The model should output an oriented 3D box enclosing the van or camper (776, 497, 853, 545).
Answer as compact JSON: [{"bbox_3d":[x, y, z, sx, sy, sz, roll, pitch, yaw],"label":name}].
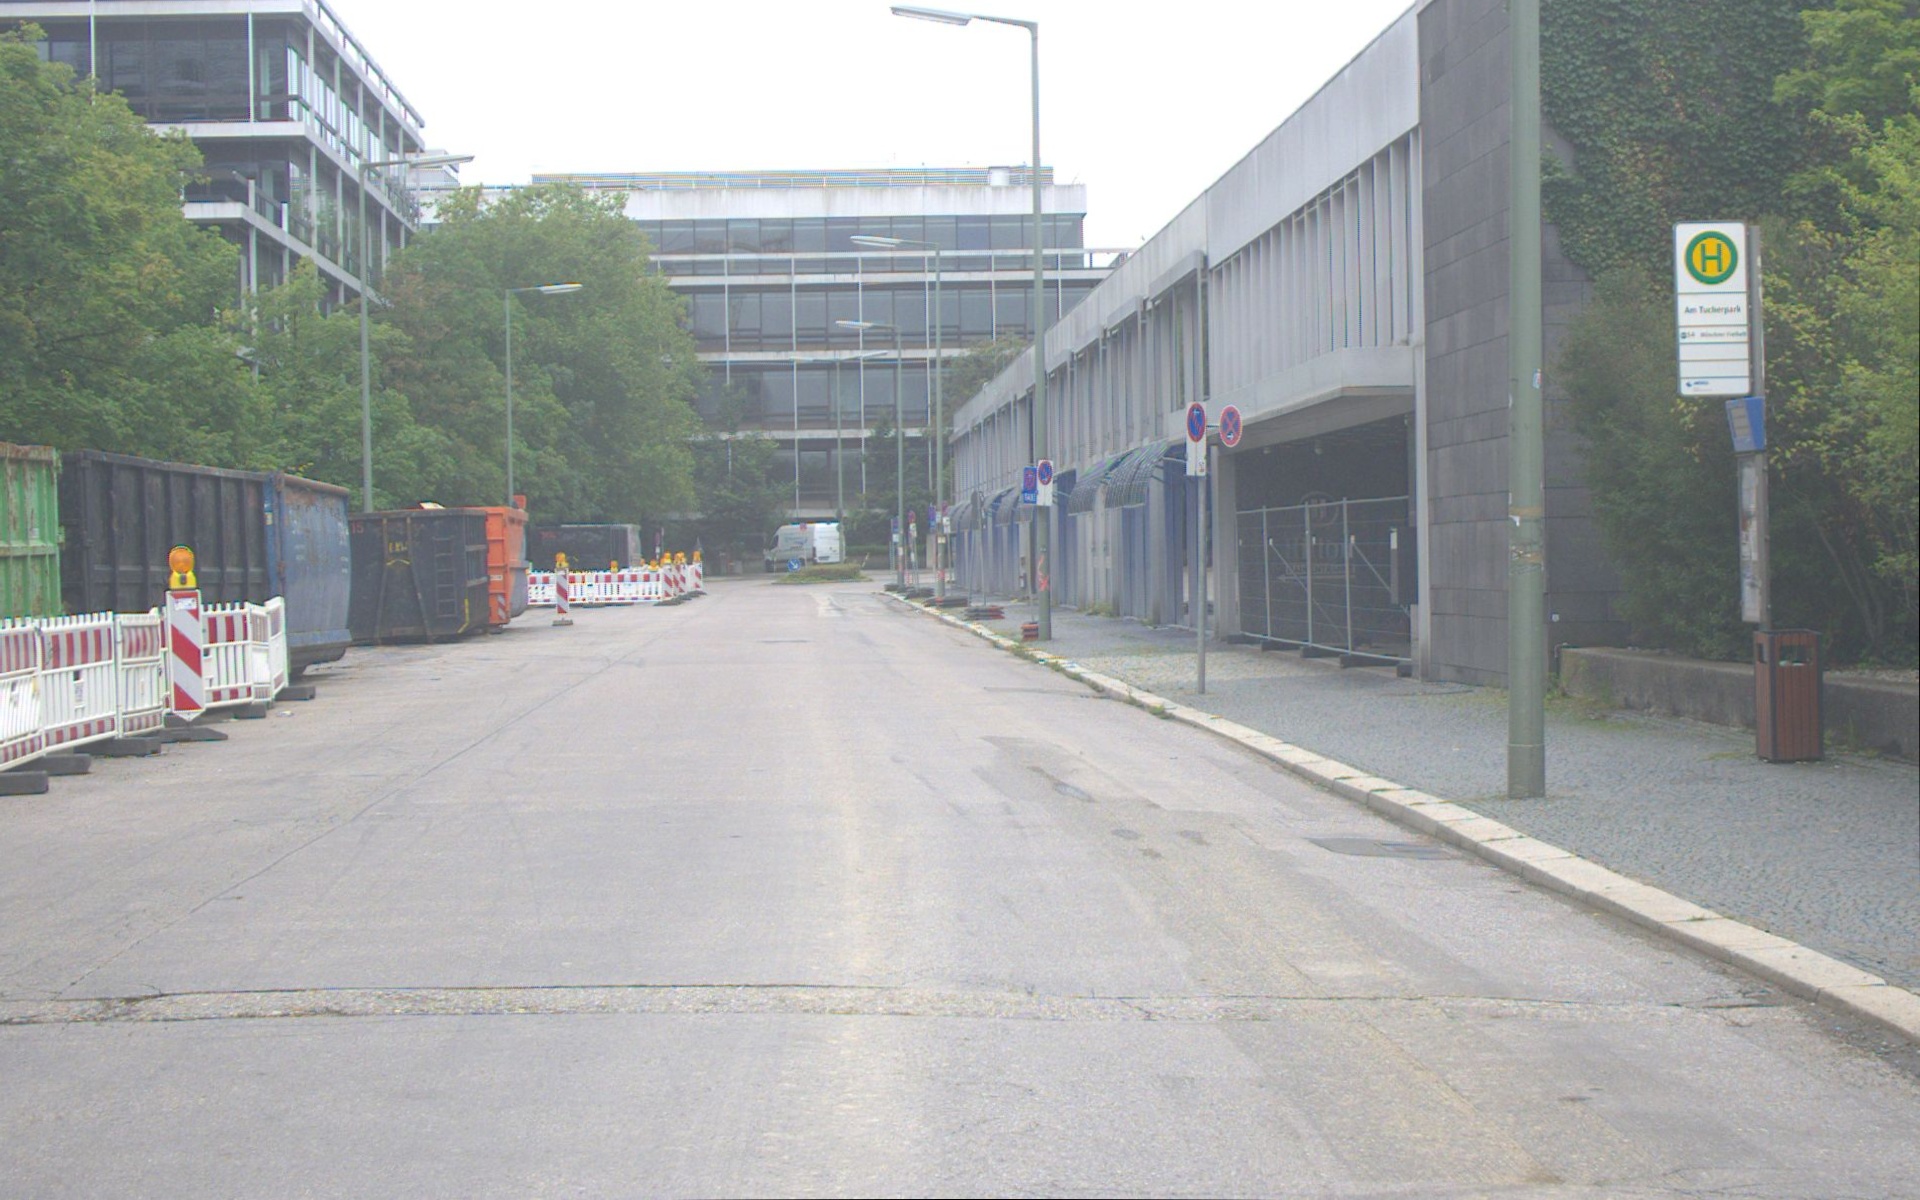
[{"bbox_3d":[-7.834,-4.232,184.387,2.085,2.483,5.068,-1,2,-28],"label":"van or camper"}]
